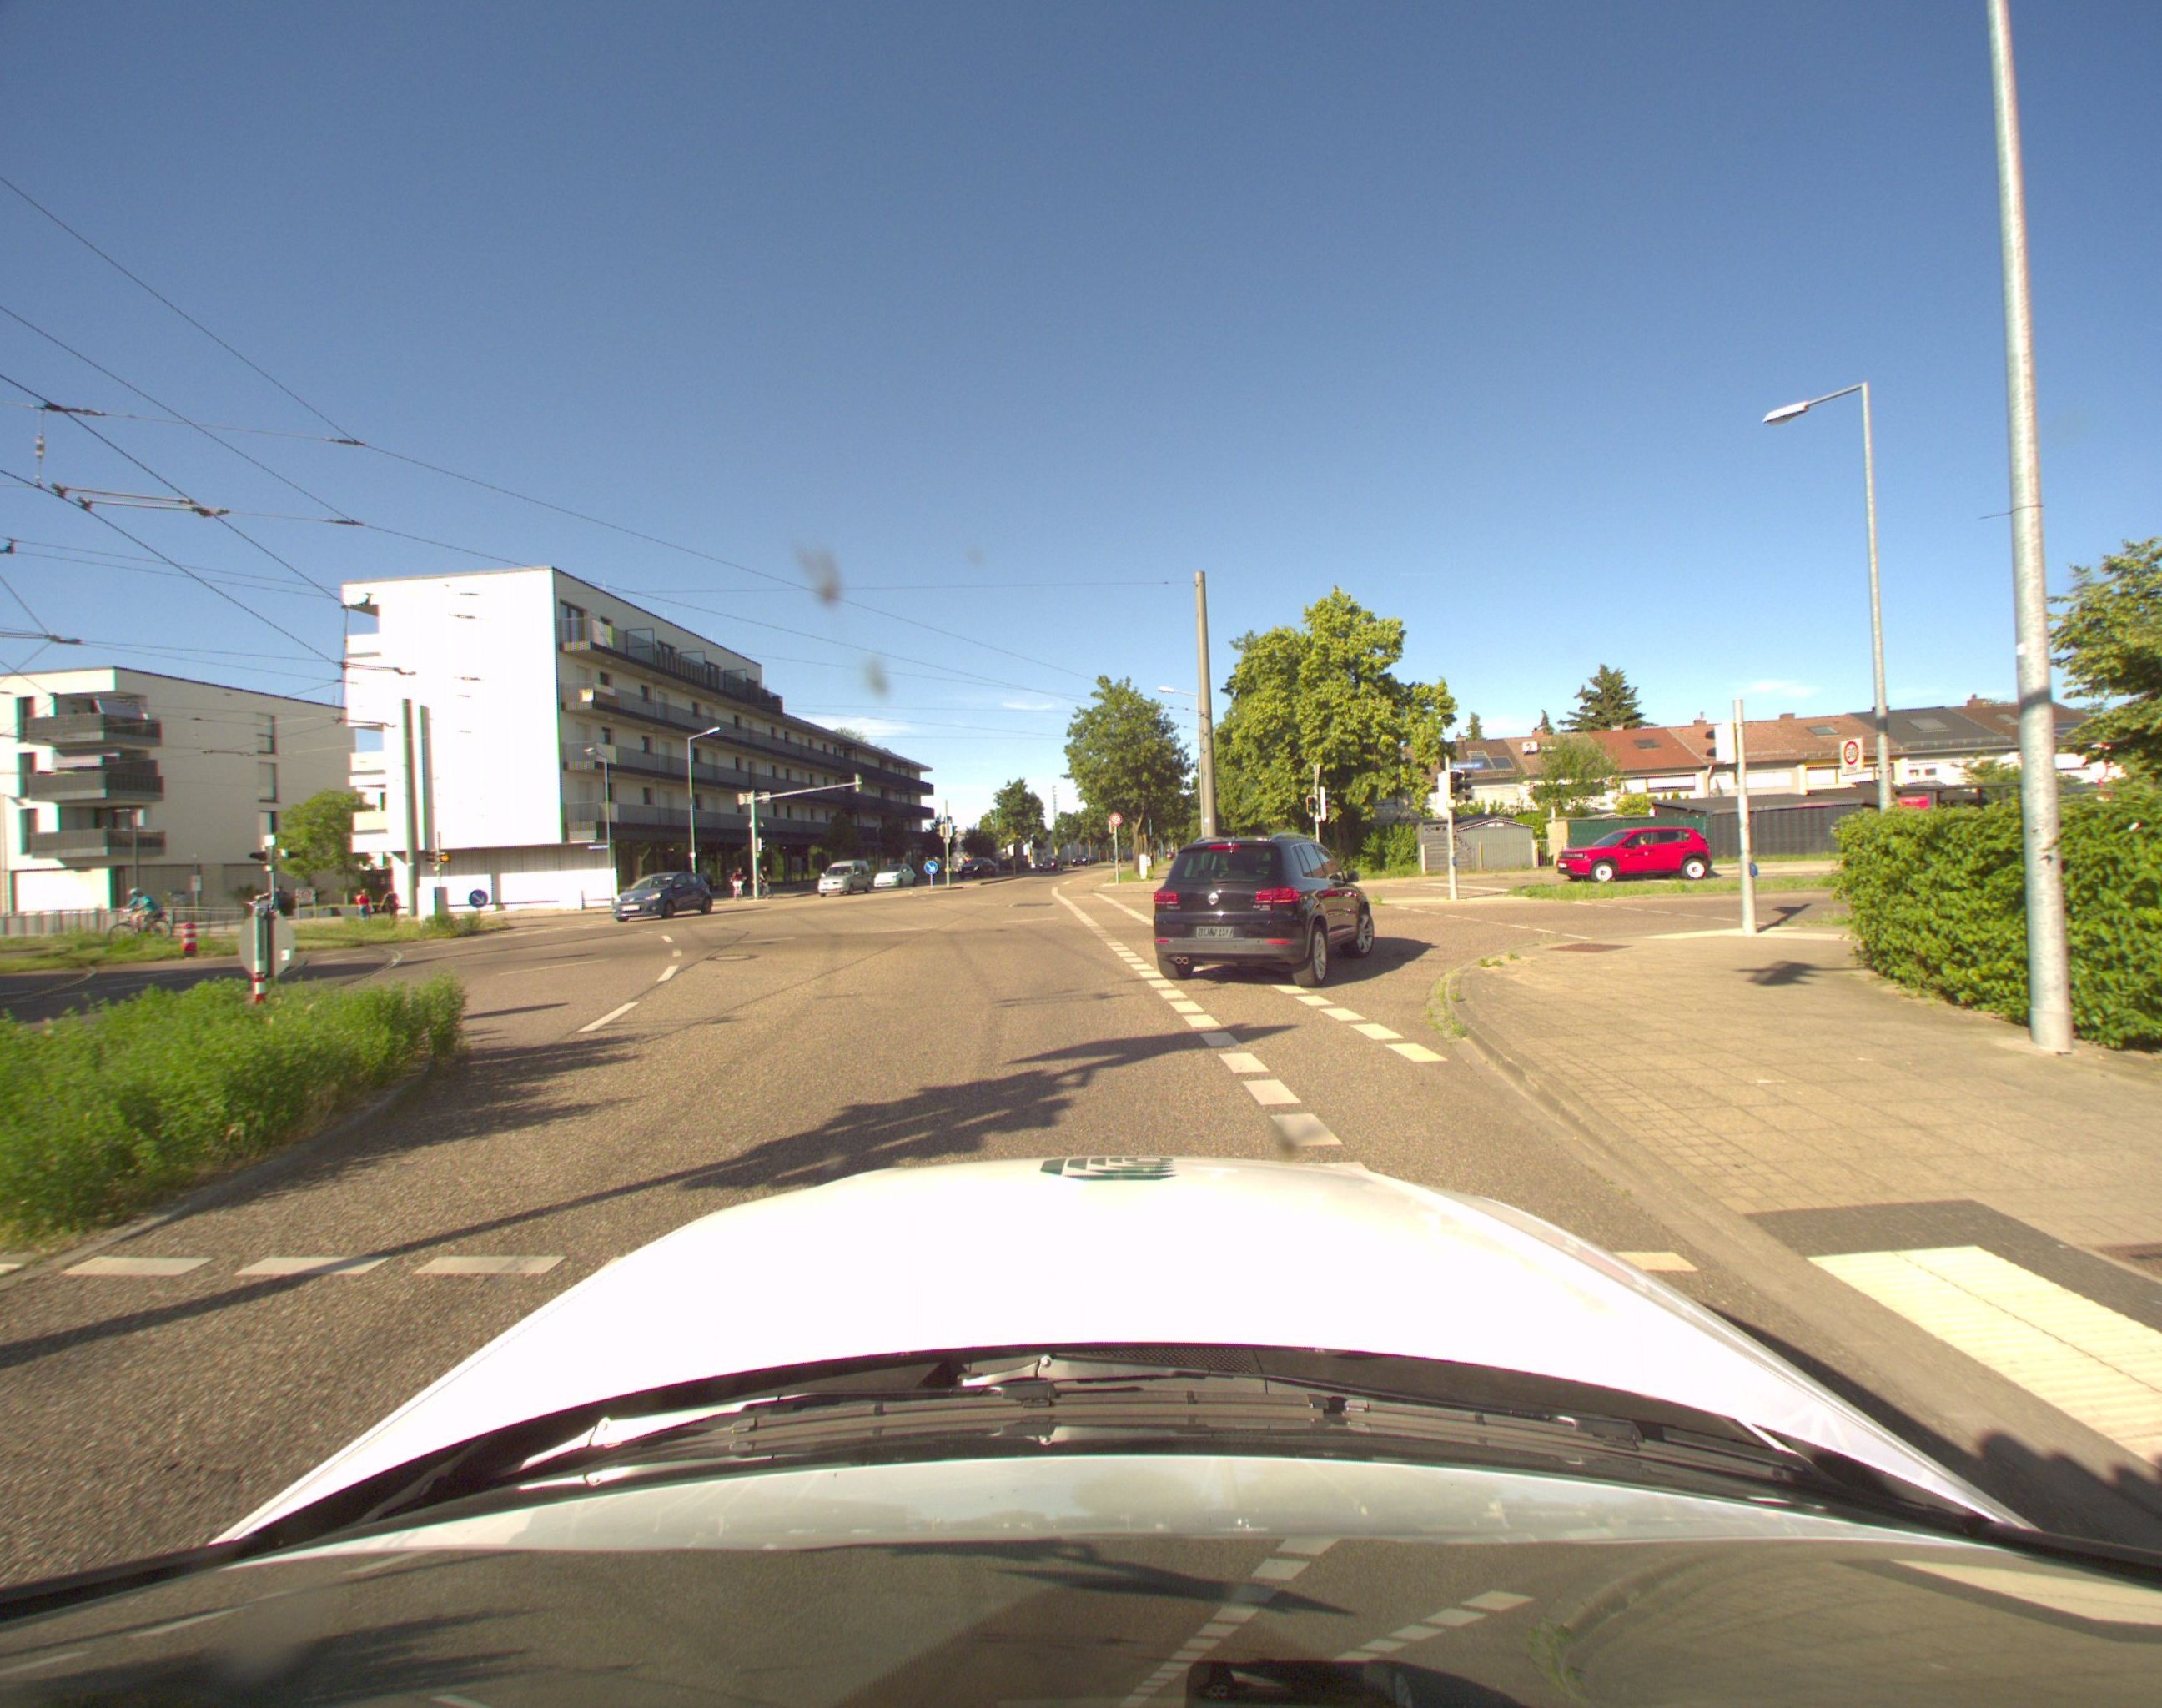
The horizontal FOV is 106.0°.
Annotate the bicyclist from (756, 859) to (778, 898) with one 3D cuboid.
[{"bbox_3d":[-16.609,1.302,43.046,0.791,2.013,0.810,-3,0,-6],"label":"bicyclist"}]

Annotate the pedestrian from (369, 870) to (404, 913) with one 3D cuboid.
[{"bbox_3d":[-28.821,1.552,33.795,0.638,1.733,0.957,-1,-1,32],"label":"pedestrian"}]

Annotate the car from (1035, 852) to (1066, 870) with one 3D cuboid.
[{"bbox_3d":[-2.940,0.652,79.401,1.980,1.571,4.013,-3,0,11],"label":"car"}]

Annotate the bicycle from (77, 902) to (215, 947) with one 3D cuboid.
[{"bbox_3d":[-30.484,2.265,26.639,0.894,1.198,2.835,-3,0,13],"label":"bicycle"}]

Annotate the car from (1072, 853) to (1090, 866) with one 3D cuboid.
[{"bbox_3d":[0.046,0.761,113.496,1.984,1.737,5.207,-3,0,6],"label":"car"}]

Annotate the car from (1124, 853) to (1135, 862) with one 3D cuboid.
[{"bbox_3d":[10.095,0.719,170.503,1.884,1.758,4.010,-1,0,9],"label":"car"}]

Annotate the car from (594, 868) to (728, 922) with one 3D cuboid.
[{"bbox_3d":[-13.673,1.286,26.833,1.687,1.456,4.460,-3,0,6],"label":"car"}]

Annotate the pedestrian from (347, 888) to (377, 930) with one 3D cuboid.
[{"bbox_3d":[-29.701,2.276,33.632,0.752,1.686,0.572,0,0,-17],"label":"pedestrian"}]

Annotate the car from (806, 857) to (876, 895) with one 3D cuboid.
[{"bbox_3d":[-12.361,1.102,42.289,1.984,1.755,4.367,-3,0,4],"label":"car"}]

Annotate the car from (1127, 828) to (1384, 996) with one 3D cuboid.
[{"bbox_3d":[2.473,0.544,10.444,1.911,1.654,4.542,-1,0,29],"label":"car"}]

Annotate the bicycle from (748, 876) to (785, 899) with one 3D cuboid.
[{"bbox_3d":[-16.622,1.761,43.038,1.635,1.144,0.743,-3,0,-6],"label":"bicycle"}]

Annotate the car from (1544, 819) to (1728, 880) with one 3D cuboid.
[{"bbox_3d":[16.682,-0.126,24.672,4.144,1.588,1.950,-2,0,7],"label":"car"}]

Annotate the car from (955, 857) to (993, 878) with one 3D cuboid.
[{"bbox_3d":[-8.632,1.064,66.126,1.957,1.534,4.748,-3,0,6],"label":"car"}]

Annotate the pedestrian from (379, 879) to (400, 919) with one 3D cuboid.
[{"bbox_3d":[-28.776,1.869,33.885,0.455,1.622,0.504,-1,0,1],"label":"pedestrian"}]

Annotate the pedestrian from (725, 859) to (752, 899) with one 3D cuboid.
[{"bbox_3d":[-17.693,1.280,42.076,0.973,2.013,0.761,-3,0,1],"label":"pedestrian"}]

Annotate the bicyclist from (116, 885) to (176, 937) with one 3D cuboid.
[{"bbox_3d":[-30.522,1.847,26.597,0.886,1.592,0.916,-3,0,12],"label":"bicyclist"}]

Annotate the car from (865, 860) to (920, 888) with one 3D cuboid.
[{"bbox_3d":[-11.695,1.236,50.683,1.981,1.487,3.554,-5,0,10],"label":"car"}]
